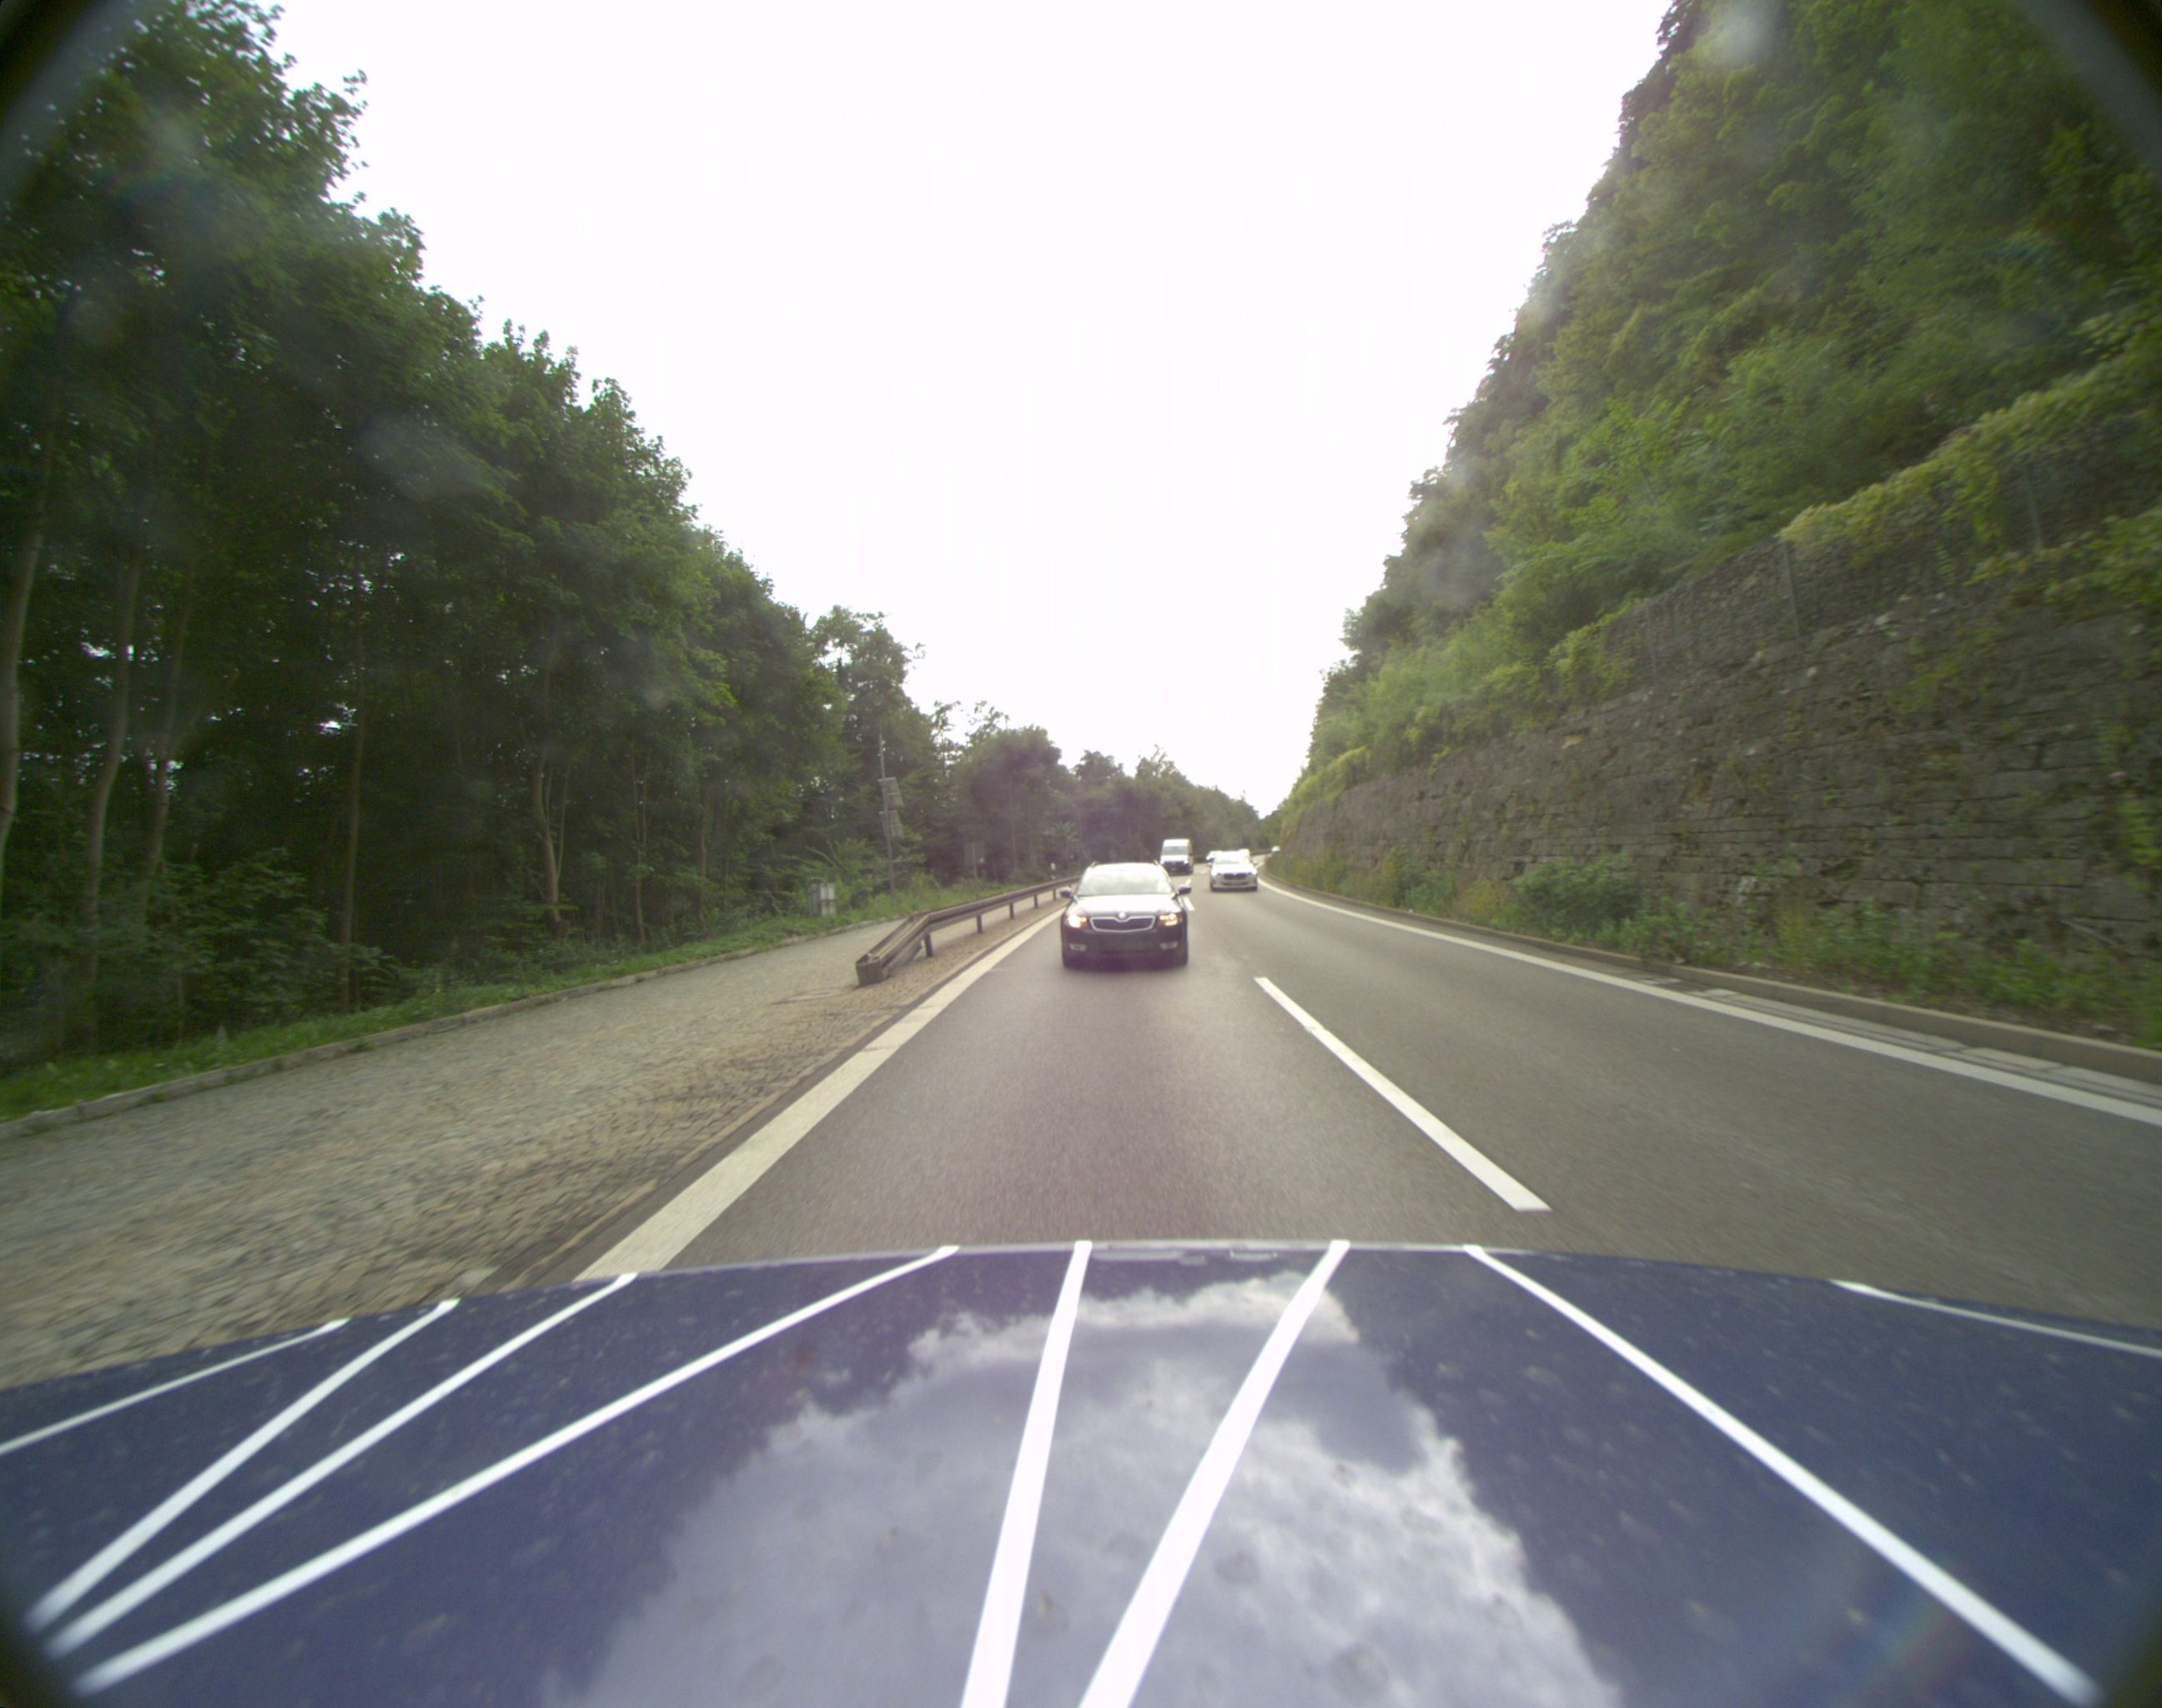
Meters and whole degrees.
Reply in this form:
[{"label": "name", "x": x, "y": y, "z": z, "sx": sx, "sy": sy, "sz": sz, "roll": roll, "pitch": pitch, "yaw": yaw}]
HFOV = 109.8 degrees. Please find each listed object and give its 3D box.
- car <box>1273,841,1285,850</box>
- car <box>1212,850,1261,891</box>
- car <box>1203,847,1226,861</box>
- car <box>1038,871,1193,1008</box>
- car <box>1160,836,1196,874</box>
[{"label": "car", "x": 39.489, "y": -1.680, "z": 151.448, "sx": 1.820, "sy": 1.546, "sz": 4.007, "roll": -1, "pitch": 0, "yaw": 23}, {"label": "car", "x": 6.407, "y": 0.661, "z": 31.661, "sx": 1.822, "sy": 1.546, "sz": 4.003, "roll": -1, "pitch": 0, "yaw": 9}, {"label": "car", "x": 15.229, "y": 0.035, "z": 86.614, "sx": 1.820, "sy": 1.546, "sz": 4.006, "roll": -1, "pitch": 0, "yaw": 20}, {"label": "car", "x": 0.574, "y": 0.973, "z": 10.407, "sx": 1.637, "sy": 1.384, "sz": 4.501, "roll": -1, "pitch": -1, "yaw": 5}, {"label": "car", "x": 7.128, "y": 0.105, "z": 55.352, "sx": 2.097, "sy": 2.547, "sz": 5.925, "roll": -1, "pitch": 0, "yaw": 12}]
